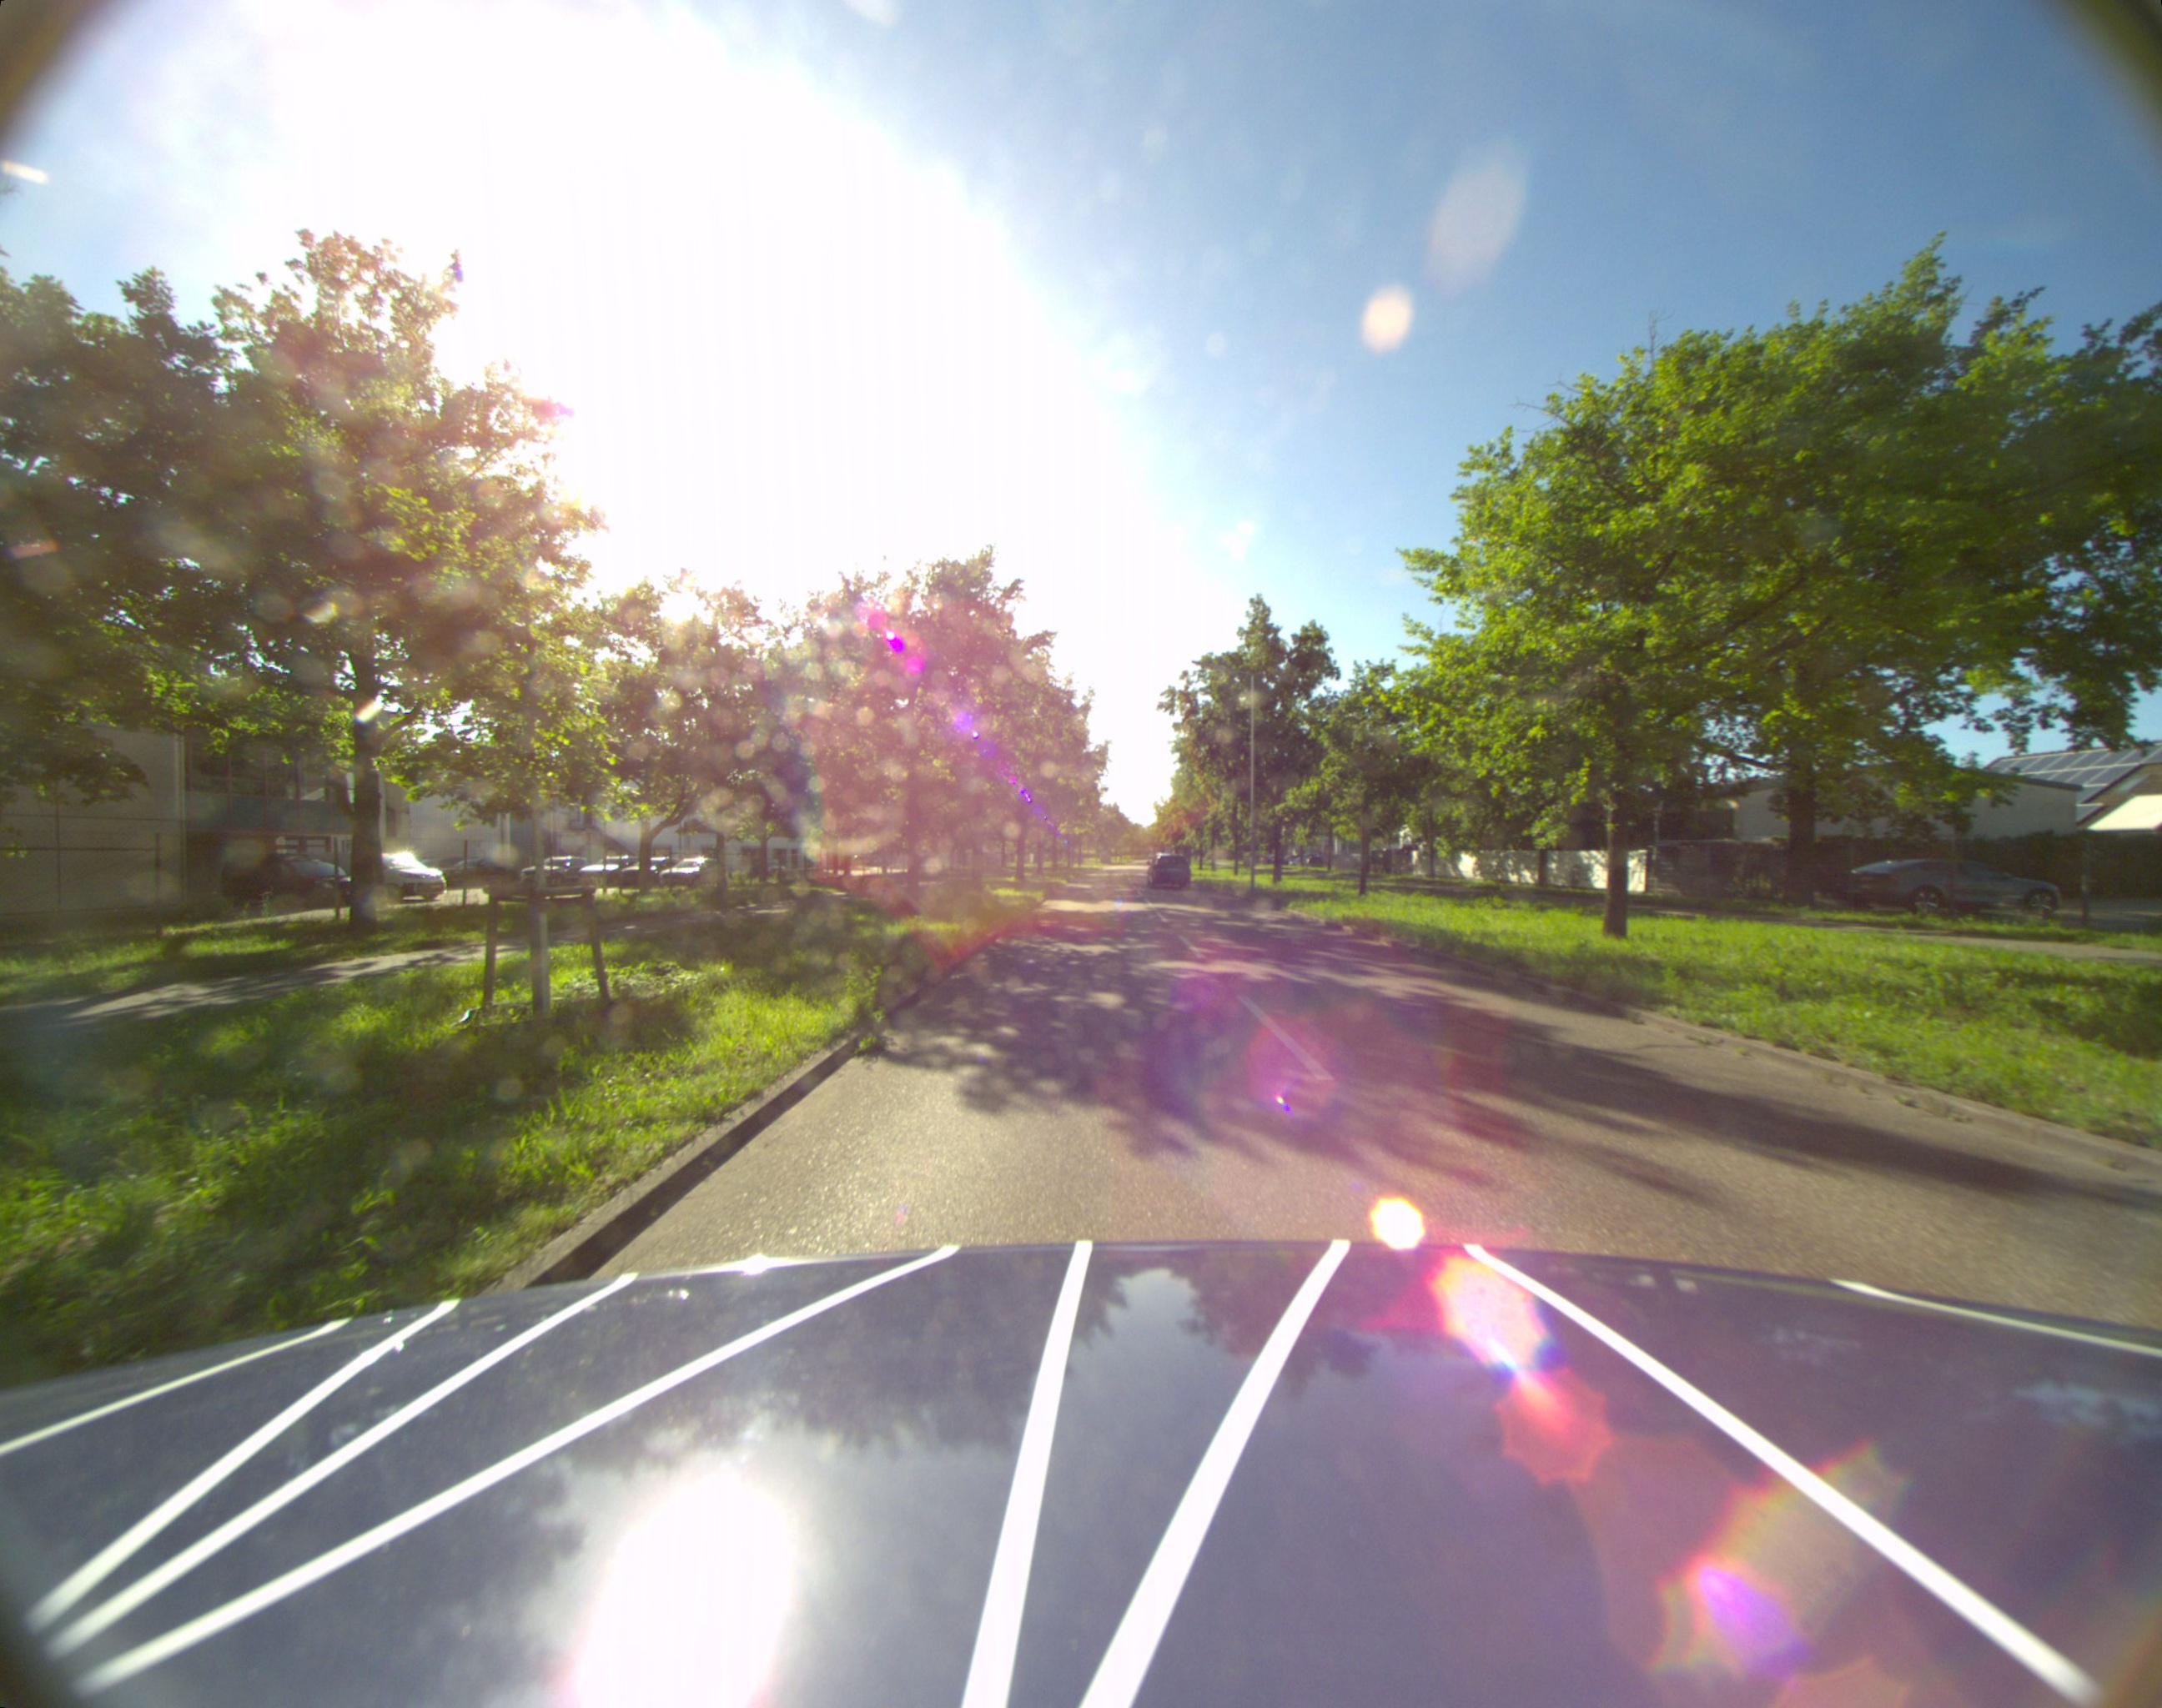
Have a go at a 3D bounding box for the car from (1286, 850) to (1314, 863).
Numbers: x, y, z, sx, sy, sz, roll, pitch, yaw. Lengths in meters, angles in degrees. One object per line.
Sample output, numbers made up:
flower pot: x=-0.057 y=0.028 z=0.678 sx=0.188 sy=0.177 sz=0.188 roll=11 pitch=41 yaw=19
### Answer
car: x=33.154 y=0.424 z=115.125 sx=4.007 sy=1.827 sz=1.995 roll=-3 pitch=1 yaw=-37

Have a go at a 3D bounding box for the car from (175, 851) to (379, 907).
car: x=-28.561 y=0.847 z=27.121 sx=4.961 sy=1.873 sz=1.999 roll=0 pitch=1 yaw=-3

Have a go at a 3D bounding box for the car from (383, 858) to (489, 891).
car: x=-37.586 y=1.140 z=44.444 sx=1.704 sy=1.663 sz=4.721 roll=-2 pitch=1 yaw=7

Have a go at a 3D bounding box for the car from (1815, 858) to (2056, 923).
car: x=23.168 y=0.950 z=20.762 sx=3.996 sy=1.510 sz=2.198 roll=-2 pitch=1 yaw=3

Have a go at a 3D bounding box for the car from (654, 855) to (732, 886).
car: x=-21.910 y=0.898 z=43.137 sx=1.998 sy=1.597 sz=4.715 roll=0 pitch=1 yaw=0

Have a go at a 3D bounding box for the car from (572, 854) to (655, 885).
car: x=-26.978 y=0.863 z=44.049 sx=1.998 sy=1.663 sz=4.456 roll=0 pitch=0 yaw=0

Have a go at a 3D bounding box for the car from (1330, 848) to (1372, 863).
car: x=36.137 y=0.231 z=101.696 sx=5.038 sy=1.827 sz=2.003 roll=-2 pitch=1 yaw=26

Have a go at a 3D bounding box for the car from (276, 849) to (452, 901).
car: x=-28.453 y=0.817 z=30.282 sx=5.077 sy=1.948 sz=1.894 roll=1 pitch=1 yaw=-3

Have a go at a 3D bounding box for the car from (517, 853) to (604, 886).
car: x=-29.814 y=0.859 z=43.701 sx=1.999 sy=1.663 sz=4.454 roll=-2 pitch=1 yaw=-3

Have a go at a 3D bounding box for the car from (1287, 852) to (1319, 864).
car: x=30.251 y=0.530 z=103.657 sx=3.885 sy=1.493 sz=2.003 roll=-2 pitch=1 yaw=24

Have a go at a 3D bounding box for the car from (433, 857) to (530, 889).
car: x=-34.700 y=1.043 z=44.139 sx=1.698 sy=1.646 sz=4.458 roll=-2 pitch=1 yaw=7

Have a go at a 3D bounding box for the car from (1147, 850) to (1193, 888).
car: x=4.168 y=0.653 z=36.260 sx=1.772 sy=1.663 sz=4.199 roll=1 pitch=1 yaw=1

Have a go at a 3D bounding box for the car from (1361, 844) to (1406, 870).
car: x=26.683 y=0.221 z=67.174 sx=1.998 sy=2.162 sz=5.672 roll=0 pitch=0 yaw=3

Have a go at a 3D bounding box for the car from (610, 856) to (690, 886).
car: x=-24.667 y=0.931 z=43.715 sx=1.998 sy=1.550 sz=4.456 roll=0 pitch=0 yaw=0

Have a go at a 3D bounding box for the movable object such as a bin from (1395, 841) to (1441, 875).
movable object such as a bin: x=27.036 y=0.286 z=61.151 sx=1.998 sy=2.501 sz=4.236 roll=-2 pitch=1 yaw=4
